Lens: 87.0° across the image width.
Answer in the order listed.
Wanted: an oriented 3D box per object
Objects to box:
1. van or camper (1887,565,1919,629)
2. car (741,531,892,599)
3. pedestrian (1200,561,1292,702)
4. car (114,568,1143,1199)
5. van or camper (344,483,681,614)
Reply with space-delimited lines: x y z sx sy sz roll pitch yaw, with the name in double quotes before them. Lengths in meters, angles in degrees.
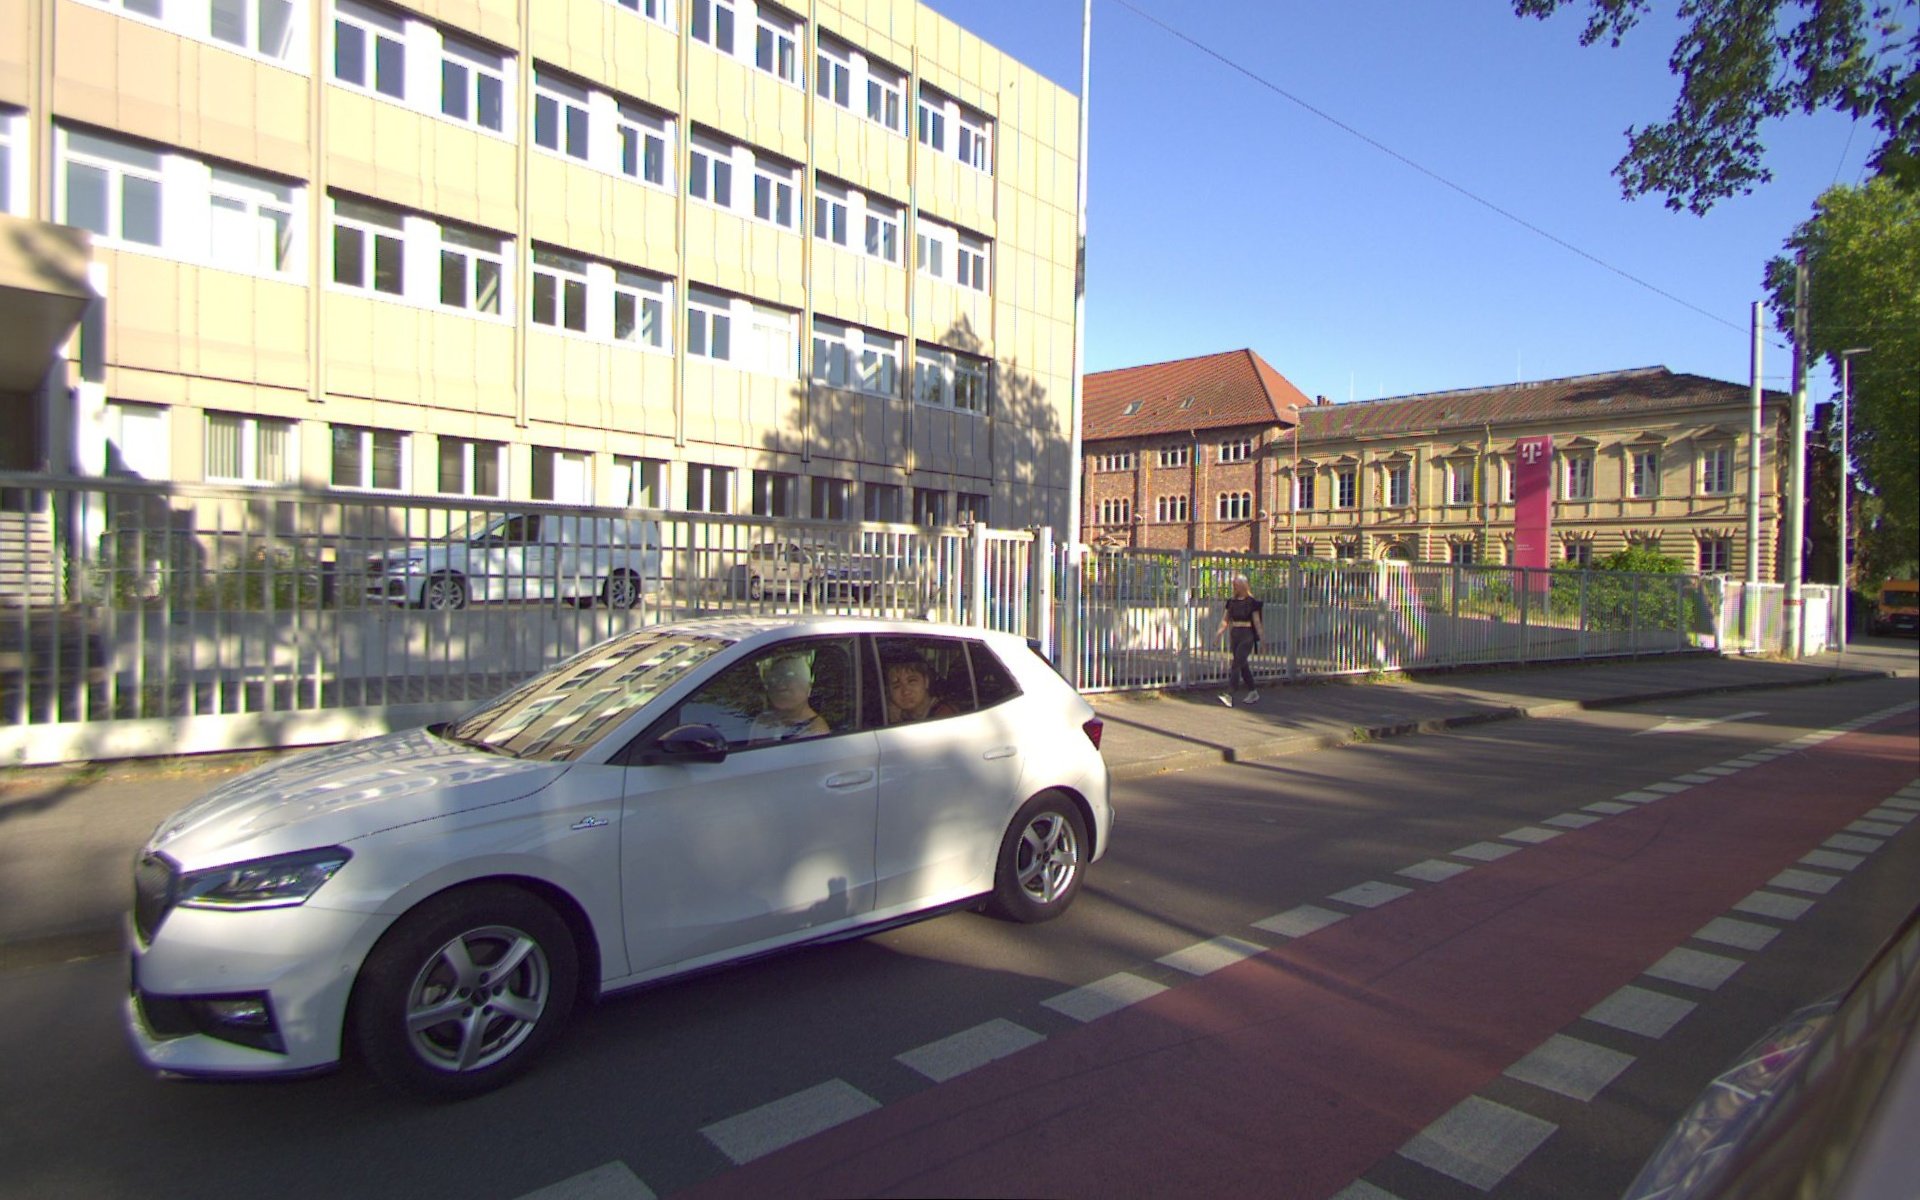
"van or camper" 41.322 -0.127 43.358 5.678 2.591 2.037 0 1 -44
"car" -4.046 -0.952 28.099 4.253 1.739 1.962 2 2 44
"pedestrian" 3.609 0.366 12.770 0.914 1.705 0.697 0 1 -40
"car" -1.121 0.664 4.438 3.913 1.520 1.804 0 1 -43
"van or camper" -7.496 -0.799 17.365 1.981 1.932 4.921 3 2 43
